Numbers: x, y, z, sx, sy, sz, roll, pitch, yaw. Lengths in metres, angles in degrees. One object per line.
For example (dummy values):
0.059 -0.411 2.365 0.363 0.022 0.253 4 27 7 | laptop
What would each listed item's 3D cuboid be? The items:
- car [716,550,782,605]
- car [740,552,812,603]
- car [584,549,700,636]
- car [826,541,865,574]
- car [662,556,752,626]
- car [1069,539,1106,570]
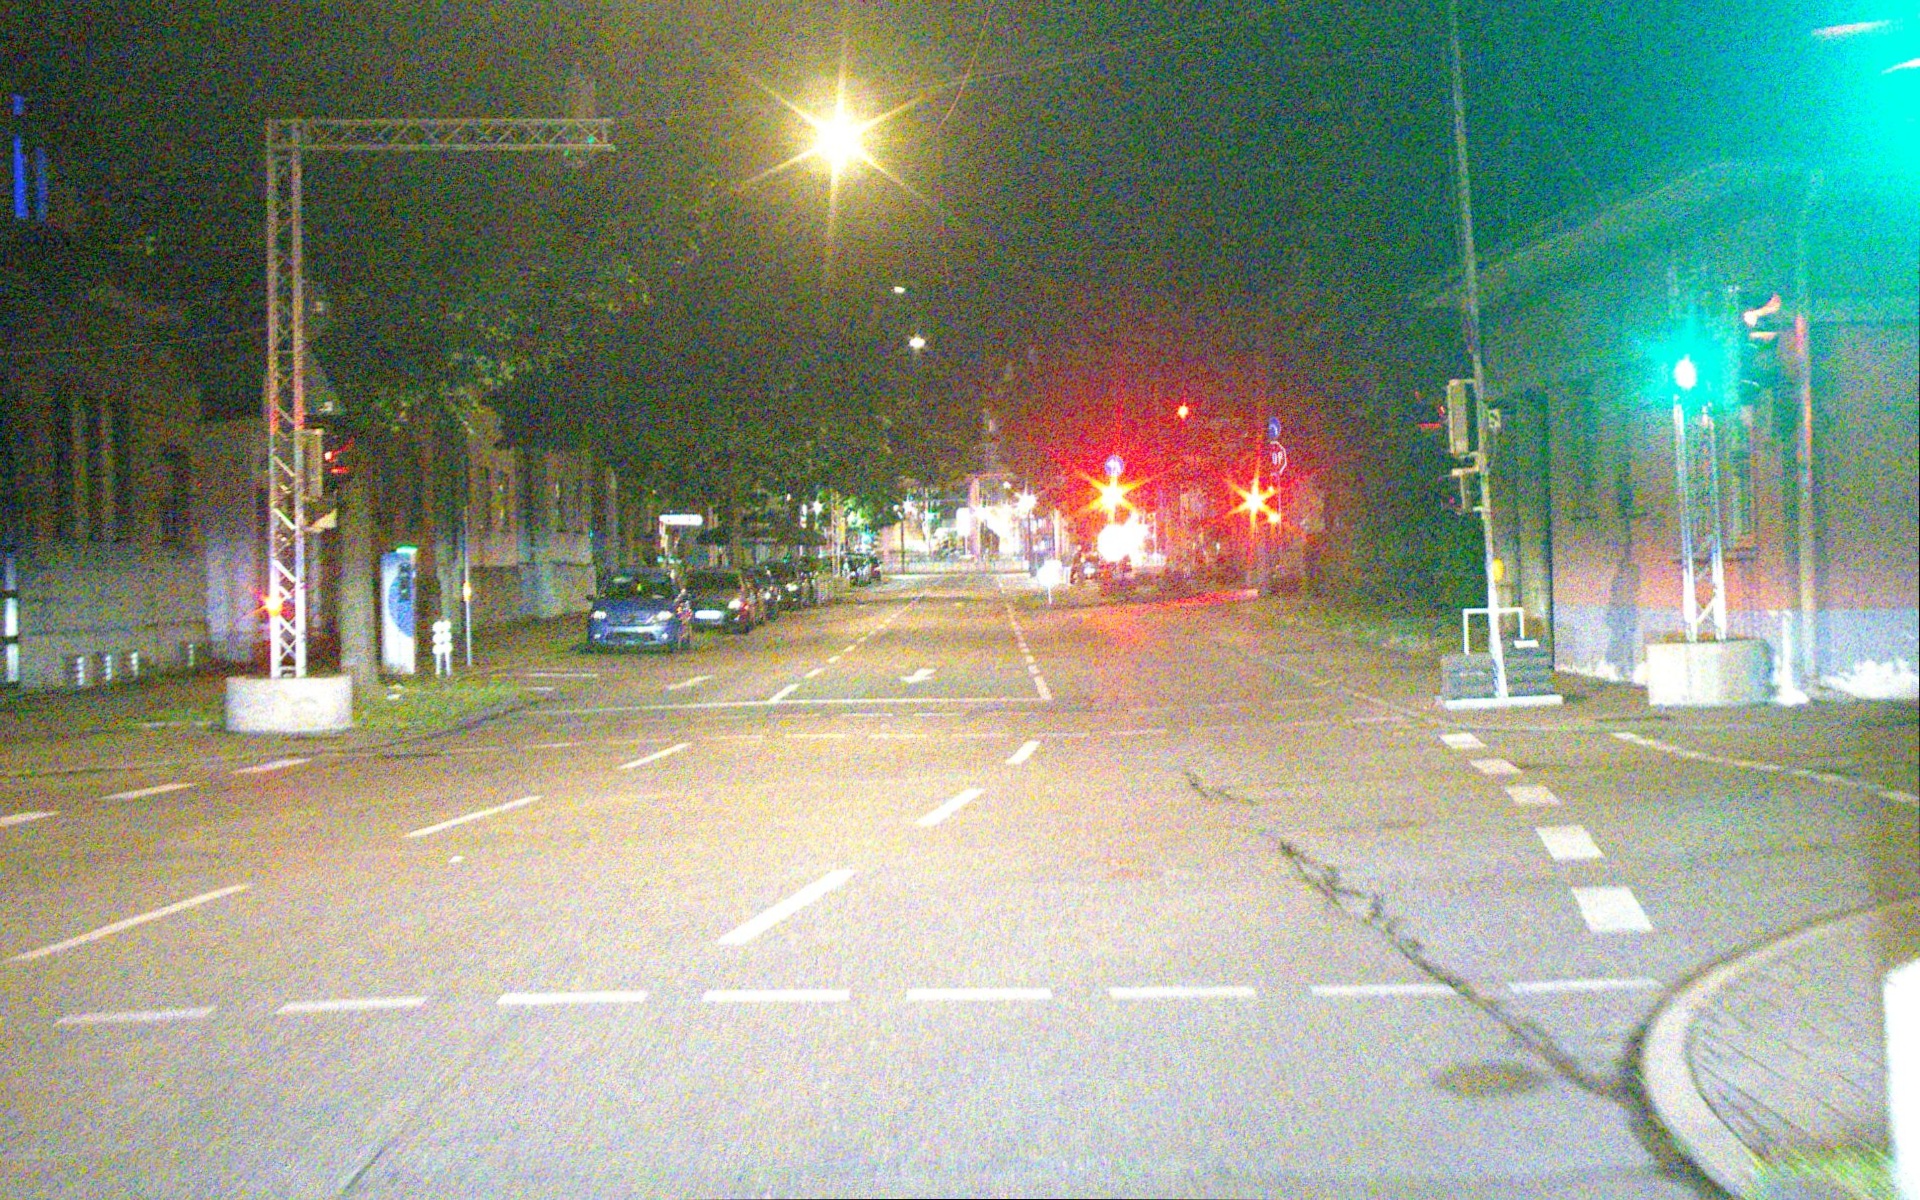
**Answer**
-5.618 -0.607 91.965 1.622 1.378 4.452 -2 1 -2 | car
-5.597 -0.702 105.129 1.899 1.466 4.452 0 1 1 | car
-5.729 -0.107 62.286 1.714 1.489 3.989 -1 -1 0 | car
-5.341 -1.997 160.806 1.651 1.426 4.000 -2 1 0 | car
-5.736 -0.236 78.457 1.768 1.480 4.768 -2 1 -1 | car
6.044 -2.172 163.276 1.651 1.426 4.000 -2 1 2 | car
